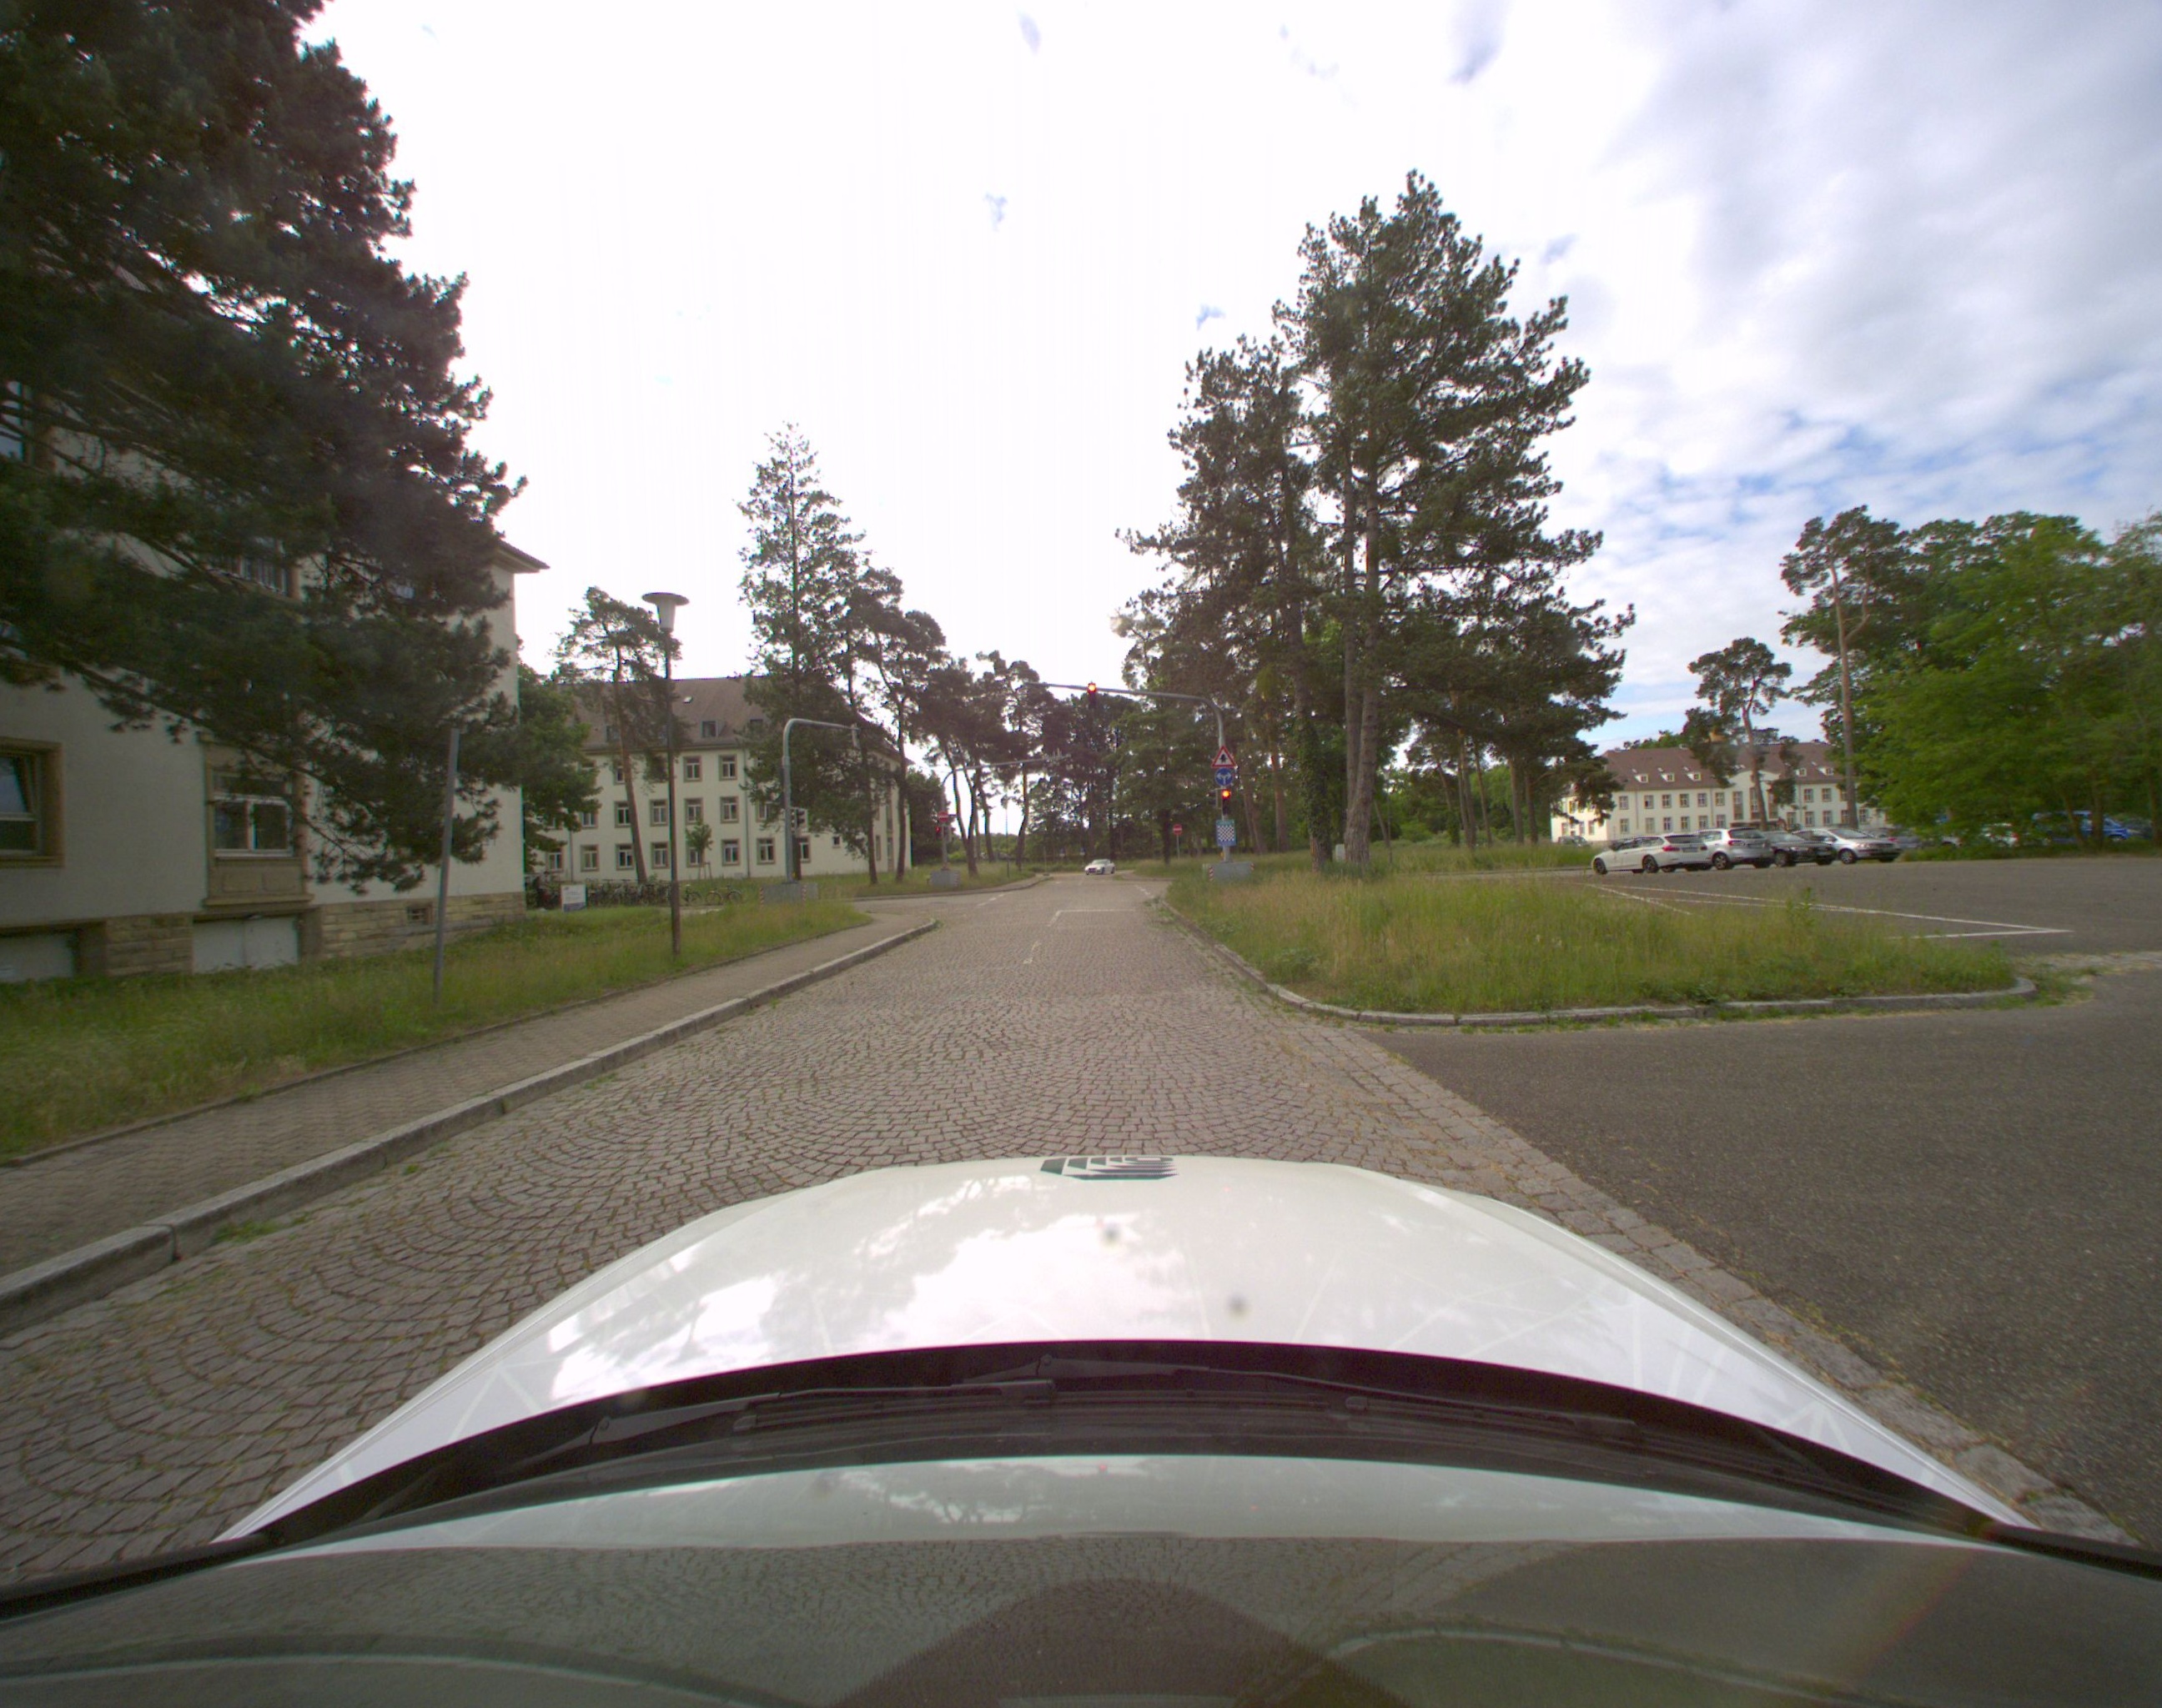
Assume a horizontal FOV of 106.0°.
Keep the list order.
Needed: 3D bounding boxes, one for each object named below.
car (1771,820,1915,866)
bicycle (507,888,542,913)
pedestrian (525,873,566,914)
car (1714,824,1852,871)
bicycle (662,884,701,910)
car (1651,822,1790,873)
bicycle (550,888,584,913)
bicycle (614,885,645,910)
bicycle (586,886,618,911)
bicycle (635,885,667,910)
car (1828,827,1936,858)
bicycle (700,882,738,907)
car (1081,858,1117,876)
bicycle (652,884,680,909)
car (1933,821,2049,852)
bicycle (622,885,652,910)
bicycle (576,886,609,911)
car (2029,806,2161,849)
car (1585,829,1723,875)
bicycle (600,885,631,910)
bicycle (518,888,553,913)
[{"bbox_3d":[29.594,-0.366,31.844,1.694,1.485,4.245,-3,-3,2],"label":"car"},{"bbox_3d":[-26.264,2.197,38.465,0.512,1.079,1.586,-3,-1,1],"label":"bicycle"},{"bbox_3d":[-24.856,1.829,37.792,1.050,1.788,1.165,-2,1,29],"label":"pedestrian"},{"bbox_3d":[26.855,-0.199,31.360,1.694,1.485,4.245,-3,-3,2],"label":"car"},{"bbox_3d":[-18.213,1.950,37.135,1.460,1.079,0.516,-3,-1,-2],"label":"bicycle"},{"bbox_3d":[24.226,-0.182,31.068,1.777,1.606,4.239,-2,-3,-2],"label":"car"},{"bbox_3d":[-24.235,2.162,38.442,0.512,1.079,1.586,-3,-1,1],"label":"bicycle"},{"bbox_3d":[-21.351,2.040,38.526,0.512,1.079,1.586,-3,-1,1],"label":"bicycle"},{"bbox_3d":[-22.604,2.090,38.458,0.512,1.079,1.586,-3,-1,1],"label":"bicycle"},{"bbox_3d":[-20.288,2.024,38.429,0.512,1.079,1.587,-3,-1,4],"label":"bicycle"},{"bbox_3d":[41.572,-0.576,42.428,1.725,1.472,4.251,-2,0,6],"label":"car"},{"bbox_3d":[-16.577,1.854,37.303,1.460,1.065,0.516,-3,-1,-2],"label":"bicycle"},{"bbox_3d":[1.790,1.276,79.446,1.757,1.438,4.243,-5,0,26],"label":"car"},{"bbox_3d":[-19.609,2.015,38.518,0.513,1.079,1.584,-3,-1,-2],"label":"bicycle"},{"bbox_3d":[47.229,-0.878,42.405,1.608,1.502,4.251,-2,0,7],"label":"car"},{"bbox_3d":[-20.990,2.035,38.522,0.512,1.079,1.586,-3,-1,1],"label":"bicycle"},{"bbox_3d":[-23.055,2.099,38.451,0.512,1.079,1.586,-3,-1,1],"label":"bicycle"},{"bbox_3d":[52.648,-1.311,41.935,2.127,2.026,4.794,-2,0,2],"label":"car"},{"bbox_3d":[21.590,-0.017,30.959,1.843,1.487,4.605,-1,-3,-2],"label":"car"},{"bbox_3d":[-21.982,2.059,38.479,0.512,1.079,1.586,-3,-1,1],"label":"bicycle"},{"bbox_3d":[-25.763,2.190,38.475,0.512,1.079,1.586,-3,-1,1],"label":"bicycle"}]
